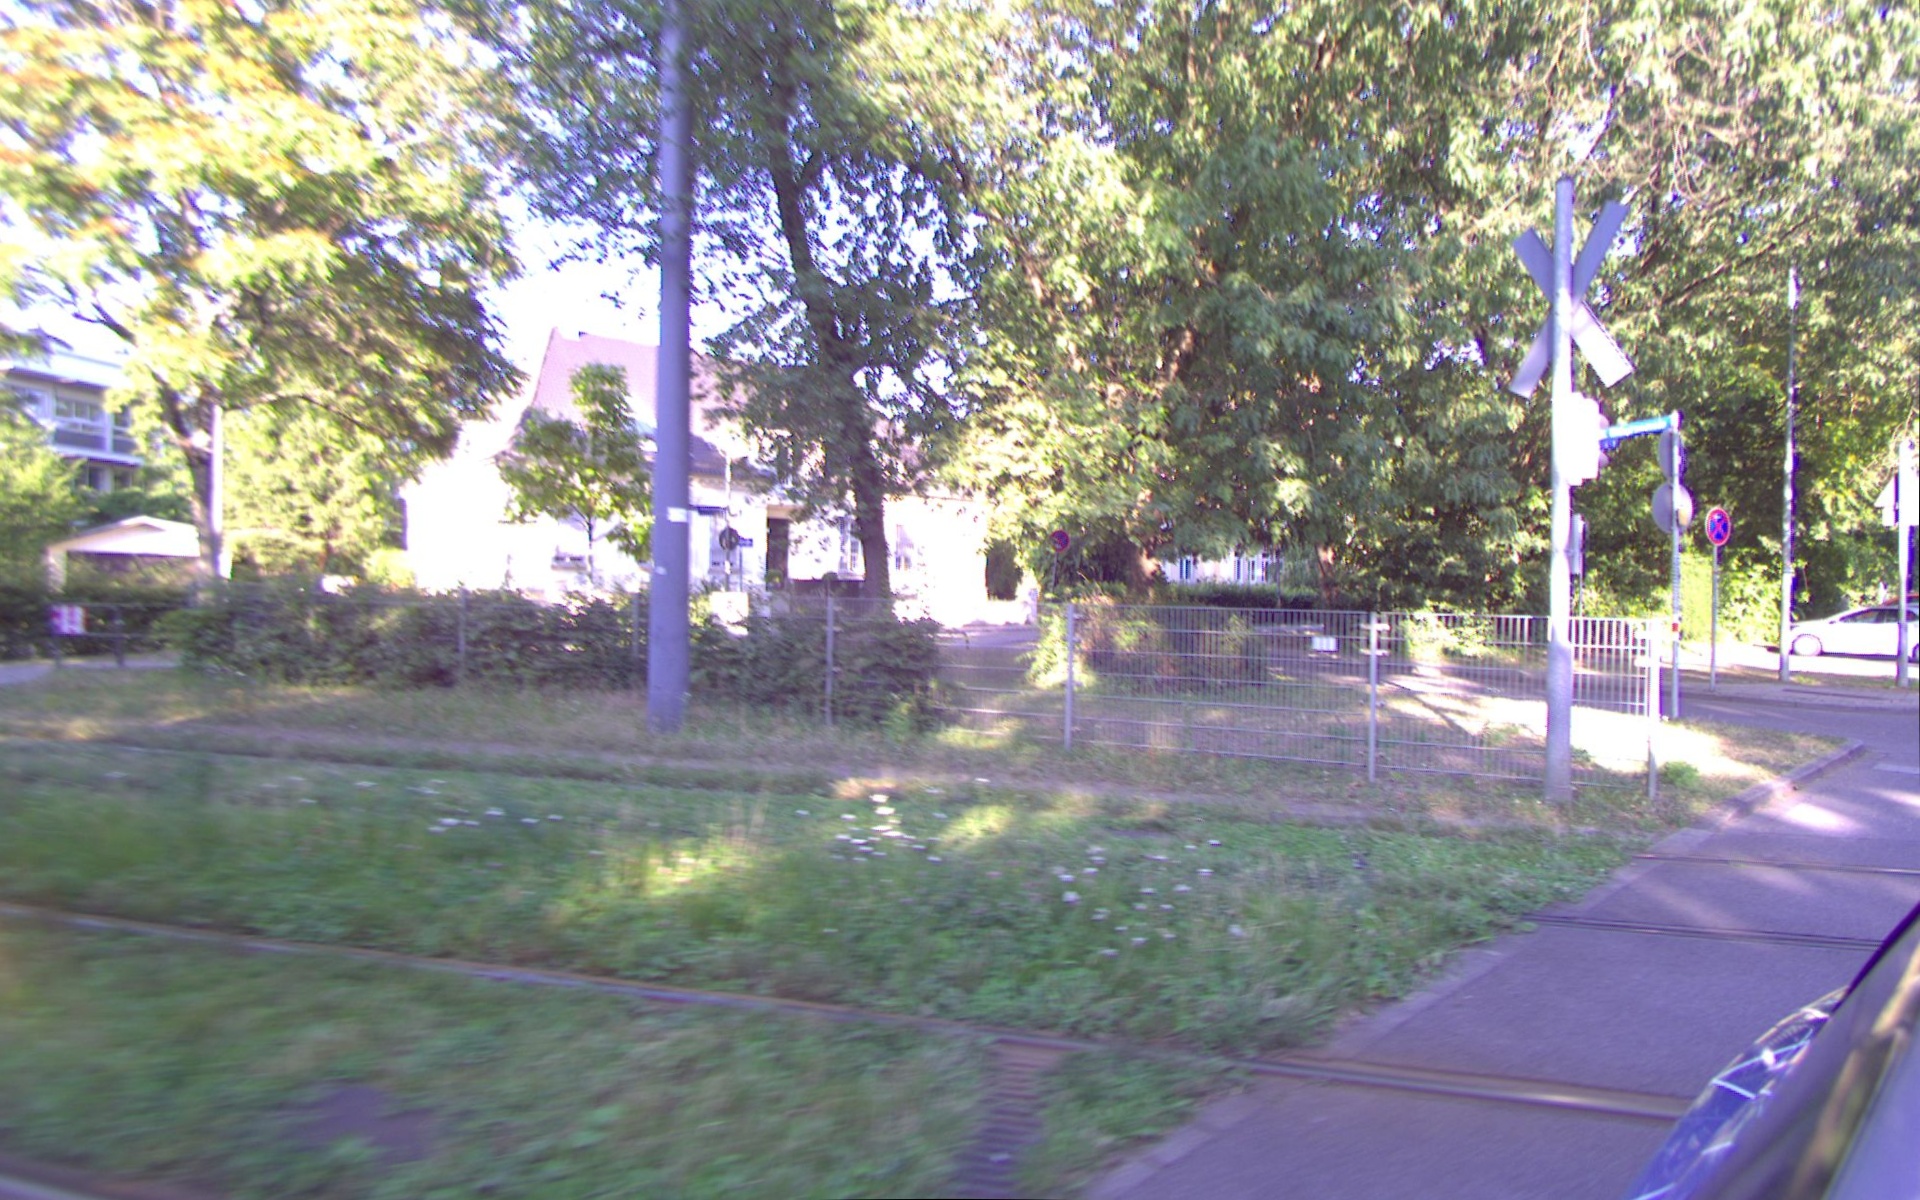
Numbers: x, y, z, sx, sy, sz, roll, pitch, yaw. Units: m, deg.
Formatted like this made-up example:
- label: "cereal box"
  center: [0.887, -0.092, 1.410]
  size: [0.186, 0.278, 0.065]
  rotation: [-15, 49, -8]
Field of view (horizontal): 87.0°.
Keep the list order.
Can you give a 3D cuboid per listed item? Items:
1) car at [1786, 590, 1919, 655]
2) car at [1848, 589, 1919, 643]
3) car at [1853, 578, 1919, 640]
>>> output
- label: "car"
  center: [25.143, 0.598, 27.389]
  size: [1.704, 1.565, 3.998]
  rotation: [0, 3, -38]
- label: "car"
  center: [31.082, 0.544, 32.563]
  size: [1.647, 1.651, 3.409]
  rotation: [0, 3, -35]
- label: "car"
  center: [33.389, 0.351, 33.953]
  size: [2.043, 2.022, 4.809]
  rotation: [0, 3, -38]
